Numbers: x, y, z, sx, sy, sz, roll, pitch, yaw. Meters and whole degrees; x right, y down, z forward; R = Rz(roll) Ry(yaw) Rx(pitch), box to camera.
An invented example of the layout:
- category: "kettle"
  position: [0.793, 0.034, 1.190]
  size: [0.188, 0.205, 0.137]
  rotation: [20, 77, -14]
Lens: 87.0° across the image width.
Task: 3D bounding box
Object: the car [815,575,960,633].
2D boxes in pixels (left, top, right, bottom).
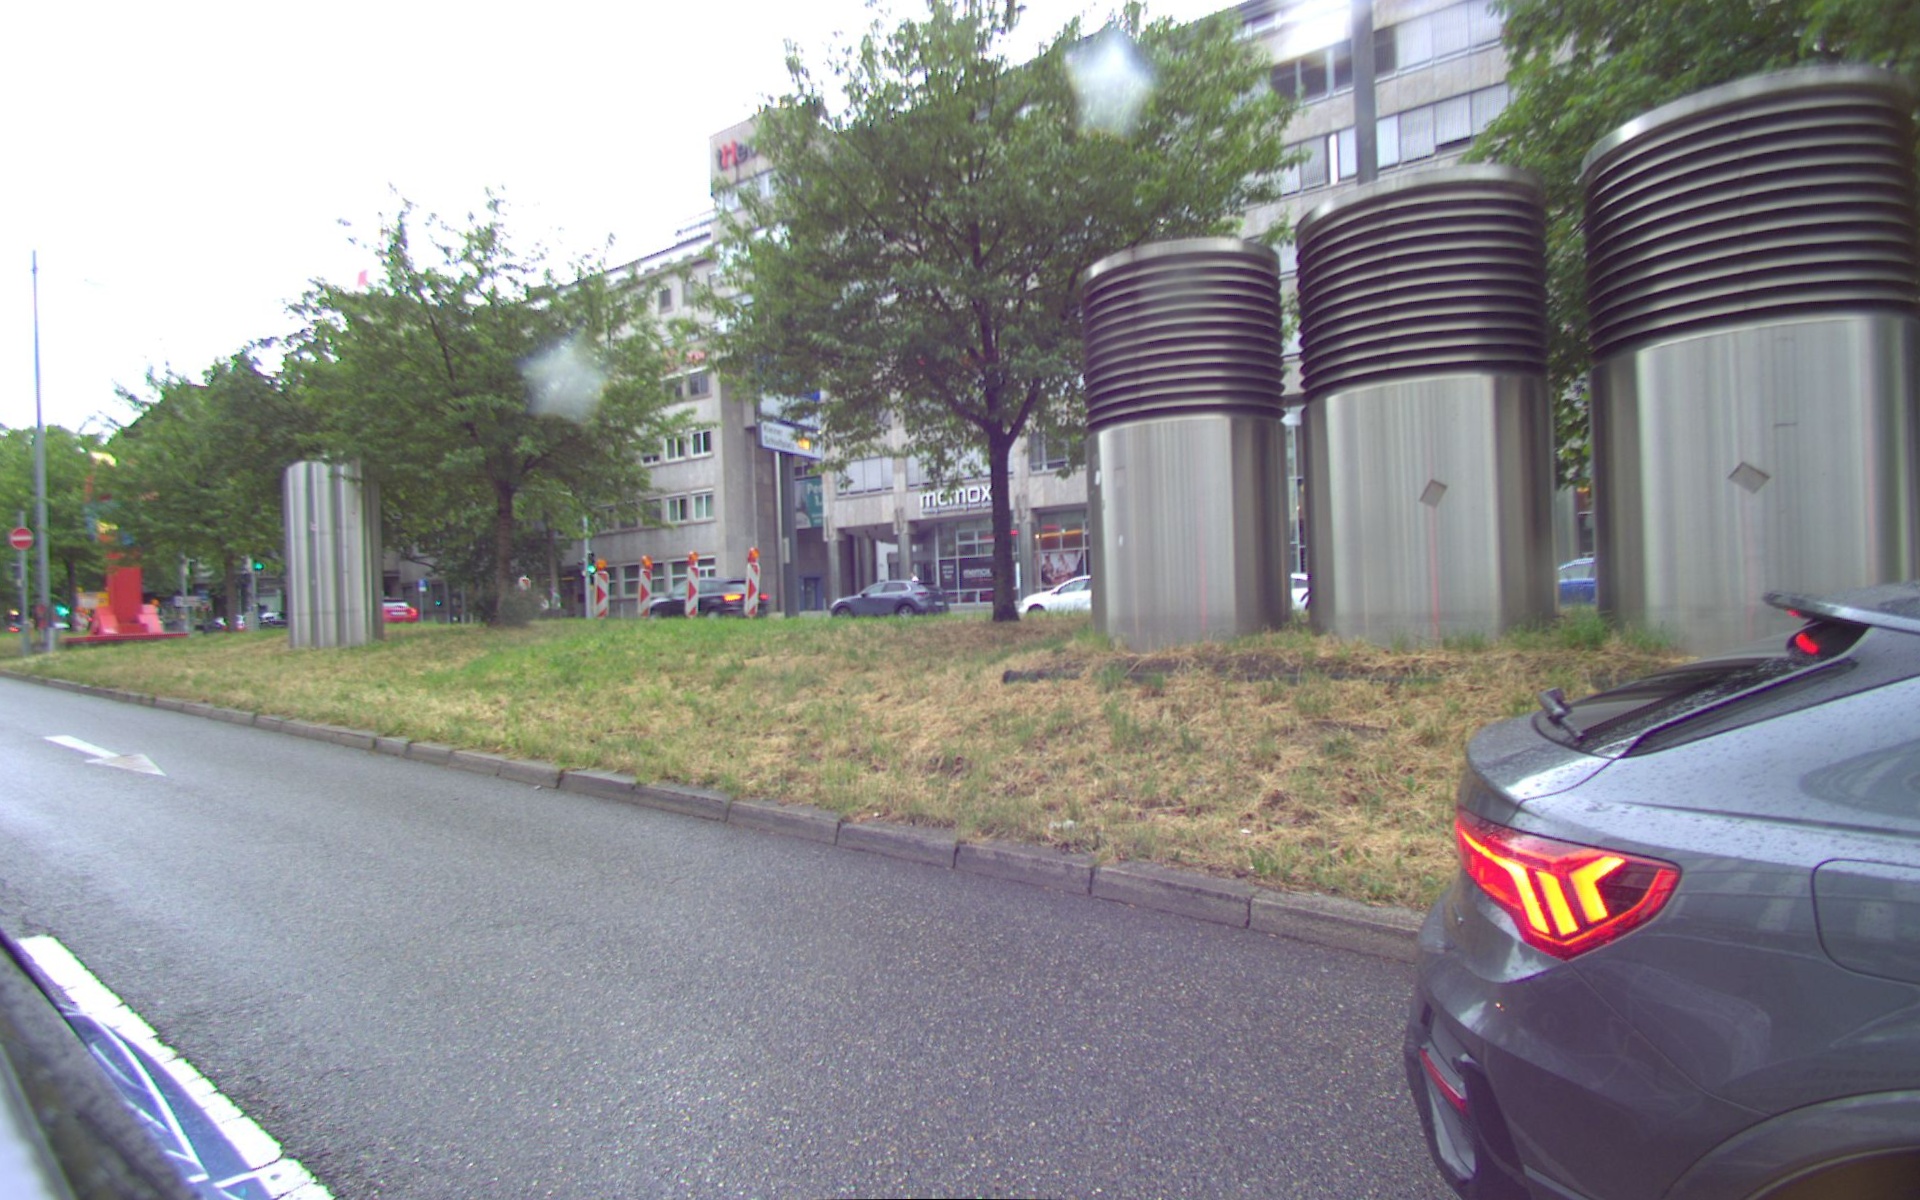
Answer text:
- category: "car"
  position: [-2.469, 0.153, 33.628]
  size: [4.785, 1.739, 1.844]
  rotation: [-2, -1, 38]

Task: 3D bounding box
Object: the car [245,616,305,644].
- category: "car"
  position: [-42.950, 1.880, 63.407]
  size: [4.461, 1.634, 1.844]
  rotation: [-2, -1, 38]

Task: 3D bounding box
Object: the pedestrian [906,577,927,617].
- category: "pedestrian"
  position: [-1.990, -0.139, 46.341]
  size: [0.528, 1.801, 0.712]
  rotation: [-2, 0, 38]

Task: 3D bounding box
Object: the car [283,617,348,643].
- category: "car"
  position: [-38.582, 1.822, 60.556]
  size: [4.559, 1.440, 1.844]
  rotation: [-2, -1, 38]

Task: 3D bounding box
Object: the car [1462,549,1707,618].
- category: "car"
  position: [13.841, -0.337, 22.622]
  size: [4.465, 1.335, 1.876]
  rotation: [-2, 0, 34]

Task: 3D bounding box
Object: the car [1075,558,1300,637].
- category: "car"
  position: [4.673, -0.021, 20.997]
  size: [4.180, 1.486, 1.805]
  rotation: [-2, 0, 33]

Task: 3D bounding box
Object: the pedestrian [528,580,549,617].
- category: "pedestrian"
  position: [-18.999, -0.062, 45.634]
  size: [0.619, 1.641, 0.599]
  rotation: [-2, 0, 41]

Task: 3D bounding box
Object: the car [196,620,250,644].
- category: "car"
  position: [-50.479, 2.212, 69.270]
  size: [4.568, 1.498, 1.769]
  rotation: [-2, -1, 38]

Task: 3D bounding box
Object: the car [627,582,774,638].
- category: "car"
  position: [-7.461, 0.288, 28.998]
  size: [3.987, 1.486, 1.853]
  rotation: [-2, 0, 33]

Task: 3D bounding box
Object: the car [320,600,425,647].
- category: "car"
  position: [-23.181, 0.920, 39.907]
  size: [3.987, 1.713, 1.930]
  rotation: [-2, 0, 33]

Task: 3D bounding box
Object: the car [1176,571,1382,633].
- category: "car"
  position: [8.054, 0.085, 25.796]
  size: [4.677, 1.412, 1.759]
  rotation: [-2, -1, 38]

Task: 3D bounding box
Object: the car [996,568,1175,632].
- category: "car"
  position: [3.537, 0.043, 29.148]
  size: [4.905, 1.634, 1.759]
  rotation: [-2, -1, 38]

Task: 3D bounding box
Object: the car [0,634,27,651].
- category: "car"
  position: [-82.855, 3.693, 88.224]
  size: [3.996, 1.425, 1.771]
  rotation: [-2, -2, 40]

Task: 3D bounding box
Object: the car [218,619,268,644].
- category: "car"
  position: [-47.004, 2.071, 66.331]
  size: [3.687, 1.514, 1.670]
  rotation: [-2, -1, 38]

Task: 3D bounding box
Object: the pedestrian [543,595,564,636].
- category: "pedestrian"
  position: [-18.124, 0.693, 45.117]
  size: [0.721, 1.801, 0.522]
  rotation: [-2, 0, 42]

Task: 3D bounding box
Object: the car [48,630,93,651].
- category: "car"
  position: [-67.261, 3.055, 76.490]
  size: [4.561, 1.440, 1.843]
  rotation: [-2, -1, 40]

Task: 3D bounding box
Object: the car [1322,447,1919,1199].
- category: "car"
  position: [2.820, 0.567, 1.010]
  size: [4.245, 1.628, 1.831]
  rotation: [-2, 0, 37]
